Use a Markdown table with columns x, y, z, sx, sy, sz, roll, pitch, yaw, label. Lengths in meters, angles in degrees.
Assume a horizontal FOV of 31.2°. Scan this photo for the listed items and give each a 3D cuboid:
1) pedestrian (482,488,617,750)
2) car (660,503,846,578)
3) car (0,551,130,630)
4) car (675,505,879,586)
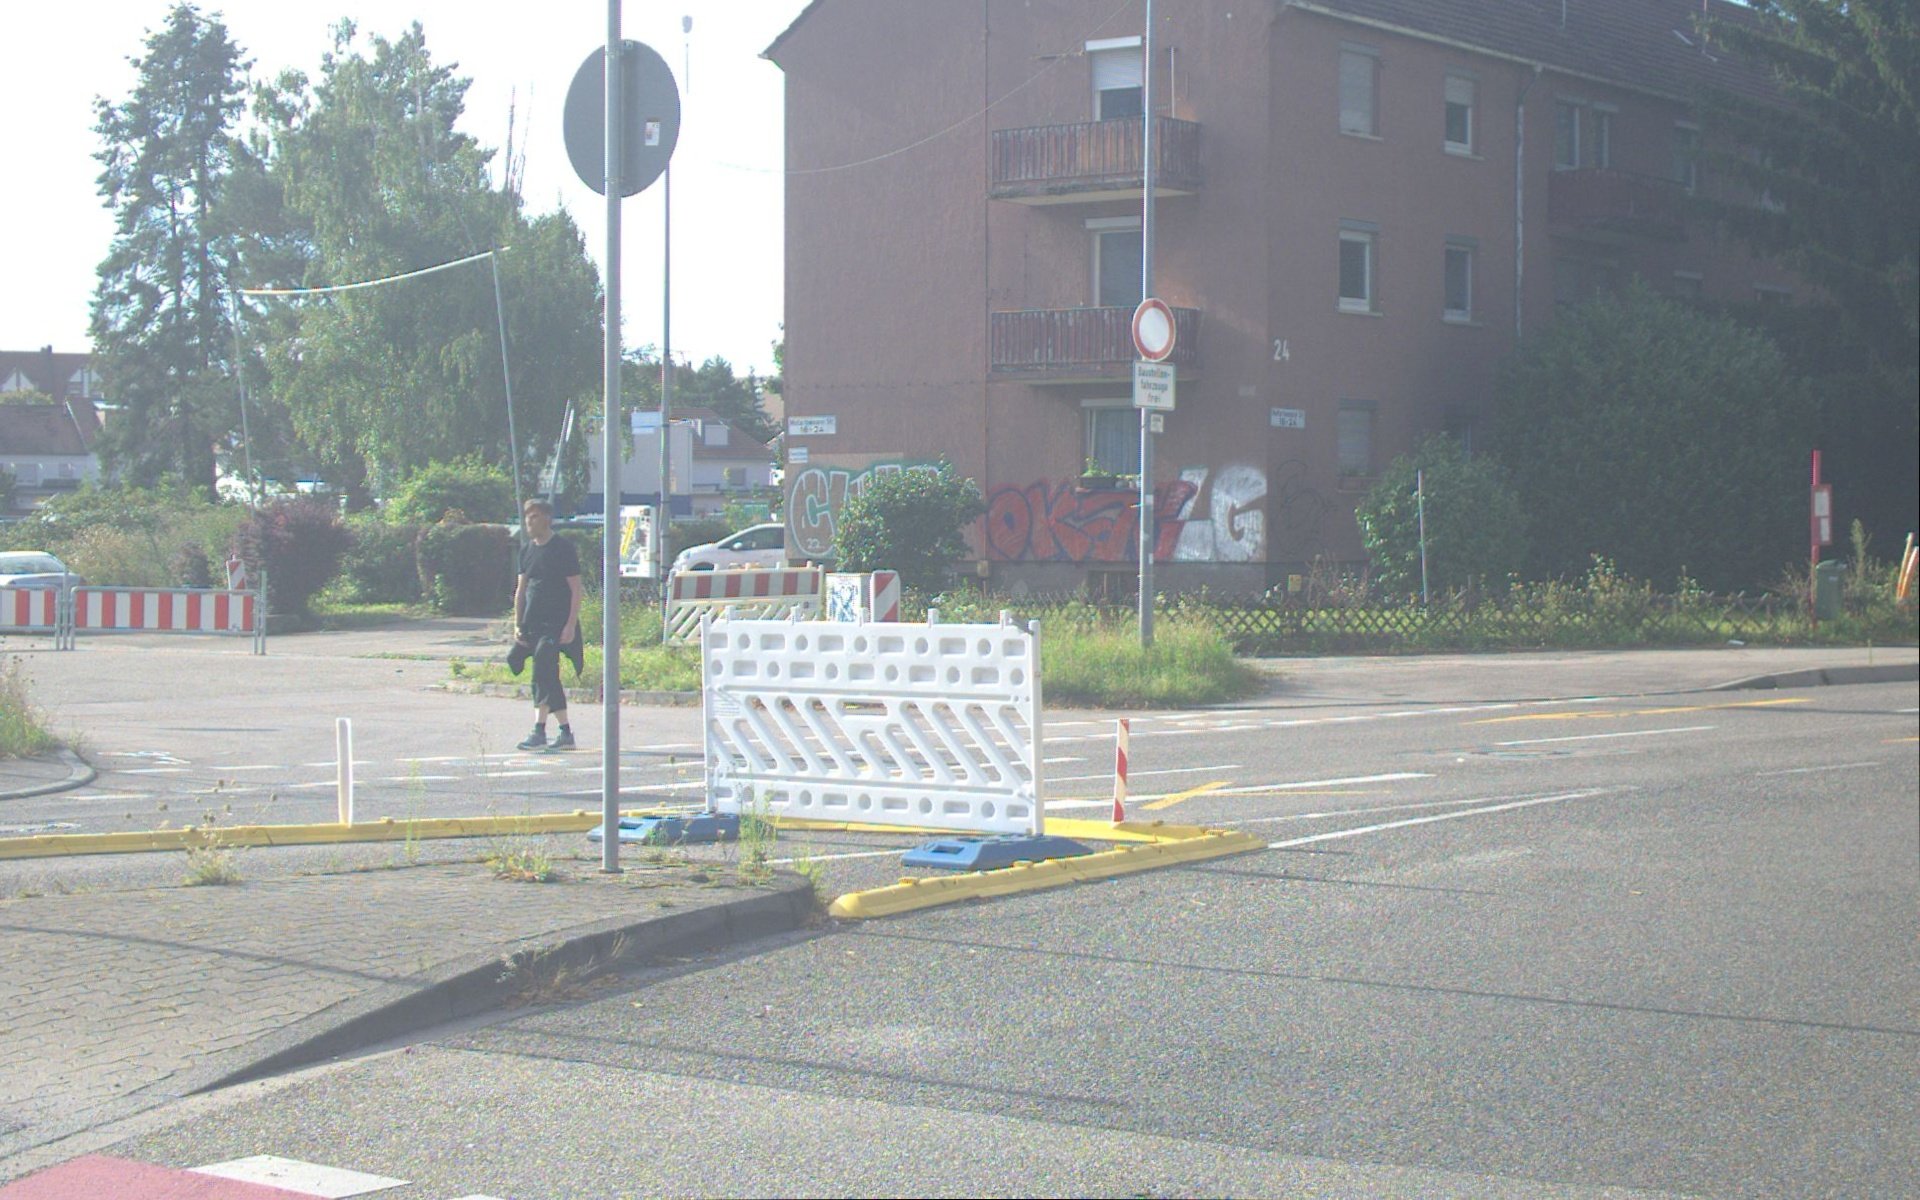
| x | y | z | sx | sy | sz | roll | pitch | yaw | label |
| --- | --- | --- | --- | --- | --- | --- | --- | --- | --- |
| -2.978 | 0.124 | 25.001 | 0.668 | 1.864 | 0.834 | 1 | 1 | 20 | pedestrian |
| -4.597 | -1.322 | 76.046 | 3.986 | 1.612 | 1.774 | 0 | 1 | -8 | car |
| -16.908 | -0.200 | 63.218 | 1.716 | 1.388 | 3.999 | 0 | 1 | -38 | car |
| -3.717 | -1.121 | 70.289 | 3.987 | 1.612 | 1.773 | 0 | 1 | 3 | car |
